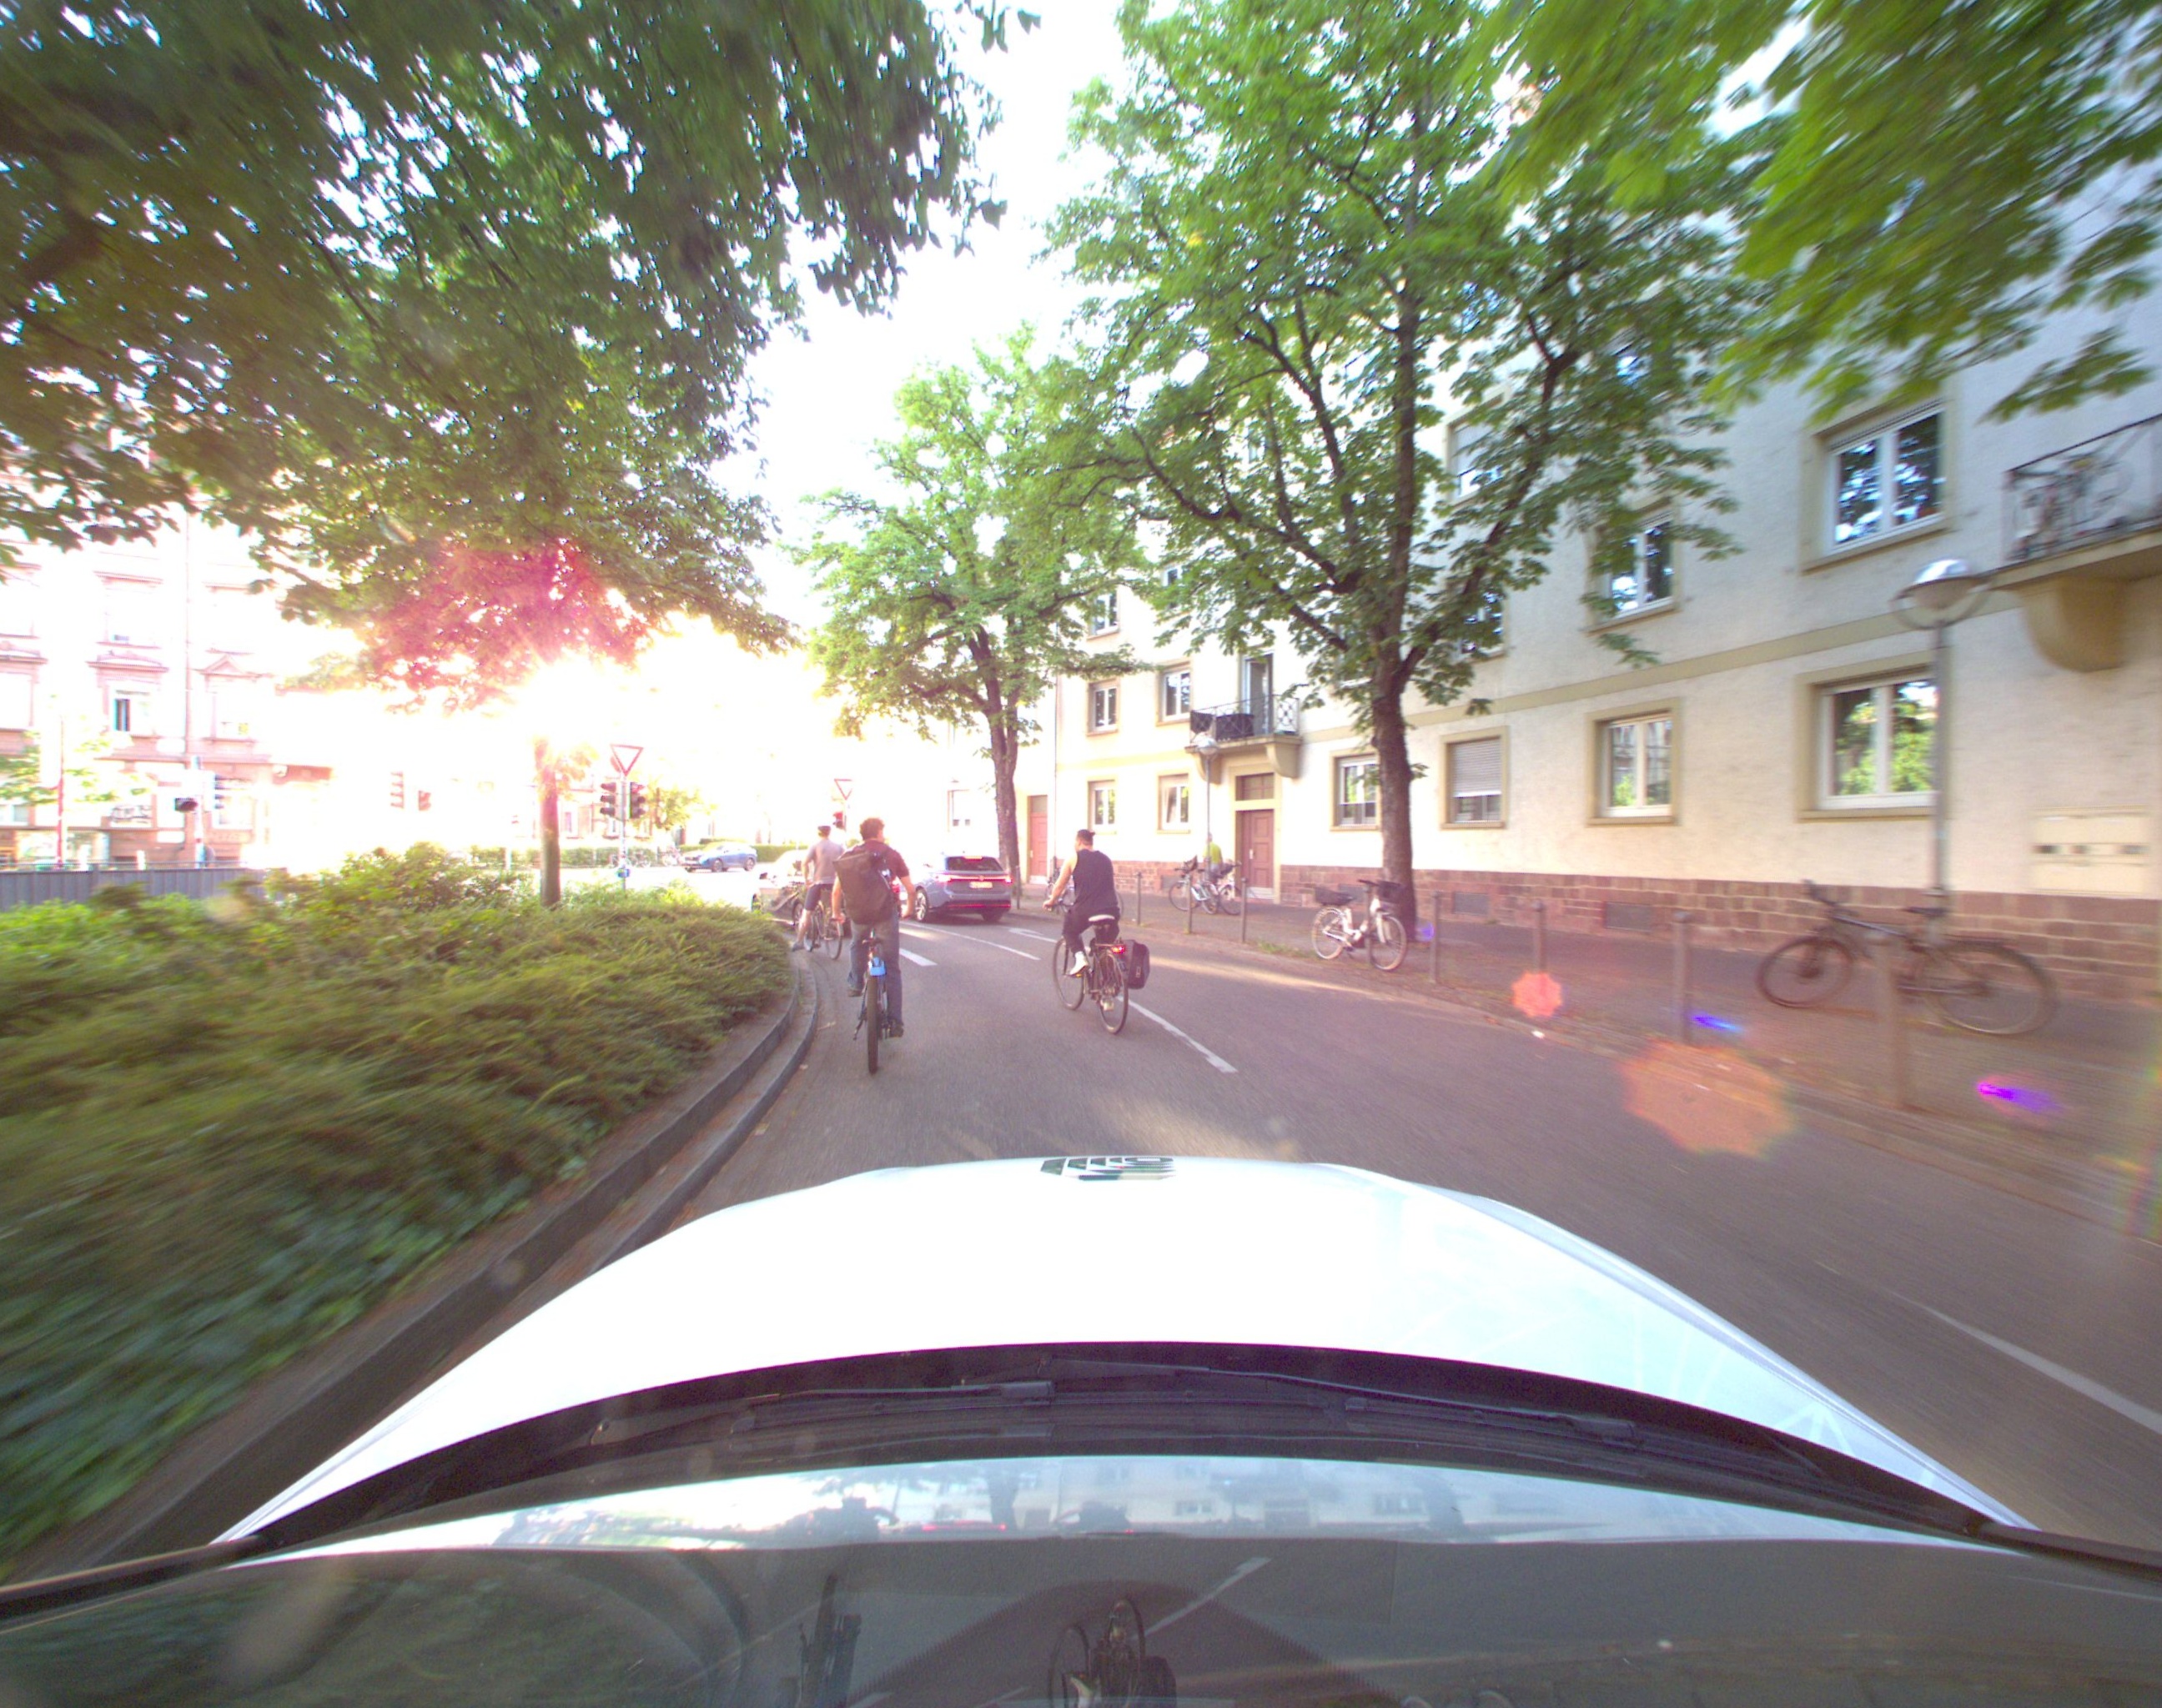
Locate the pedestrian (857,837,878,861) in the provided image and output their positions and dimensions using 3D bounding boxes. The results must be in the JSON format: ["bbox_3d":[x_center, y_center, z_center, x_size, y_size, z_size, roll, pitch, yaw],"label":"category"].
[{"bbox_3d":[-17.630,-0.401,67.196,1.150,1.962,1.392,1,0,11],"label":"pedestrian"}]

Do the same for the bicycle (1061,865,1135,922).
[{"bbox_3d":[0.331,0.797,17.163,0.620,1.058,1.910,-2,2,-31],"label":"bicycle"}]

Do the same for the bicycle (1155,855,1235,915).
[{"bbox_3d":[2.436,0.640,17.662,0.497,1.172,2.097,-4,2,-29],"label":"bicycle"}]

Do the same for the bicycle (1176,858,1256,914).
[{"bbox_3d":[2.949,0.663,17.980,0.585,1.114,2.098,-1,1,-29],"label":"bicycle"}]

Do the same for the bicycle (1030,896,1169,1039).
[{"bbox_3d":[0.095,0.953,7.499,0.739,1.012,2.051,1,0,-15],"label":"bicycle"}]

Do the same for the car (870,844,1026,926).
[{"bbox_3d":[-3.042,0.575,18.003,1.906,1.577,3.957,0,1,-35],"label":"car"}]

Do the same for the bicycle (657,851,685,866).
[{"bbox_3d":[-24.426,0.275,48.507,0.445,0.861,1.456,1,0,31],"label":"bicycle"}]

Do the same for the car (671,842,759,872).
[{"bbox_3d":[-19.973,0.138,44.618,1.978,1.496,4.393,1,1,16],"label":"car"}]

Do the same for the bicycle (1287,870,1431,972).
[{"bbox_3d":[3.555,0.810,10.625,0.618,1.112,1.978,-3,2,-22],"label":"bicycle"}]

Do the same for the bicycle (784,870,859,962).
[{"bbox_3d":[-3.826,0.850,11.896,0.601,1.161,2.022,0,0,-31],"label":"bicycle"}]

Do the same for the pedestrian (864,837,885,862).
[{"bbox_3d":[-16.793,-0.362,66.369,1.150,1.962,1.392,1,0,11],"label":"pedestrian"}]

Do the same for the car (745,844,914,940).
[{"bbox_3d":[-4.911,0.621,15.559,1.827,1.543,3.914,-2,1,-37],"label":"car"}]

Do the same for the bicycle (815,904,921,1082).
[{"bbox_3d":[-1.628,0.977,6.428,0.674,1.054,2.052,0,-1,-12],"label":"bicycle"}]

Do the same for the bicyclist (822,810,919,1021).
[{"bbox_3d":[-1.631,0.437,6.426,0.672,1.514,1.064,0,0,-12],"label":"bicyclist"}]

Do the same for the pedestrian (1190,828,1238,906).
[{"bbox_3d":[3.177,0.281,19.448,0.651,1.795,1.003,0,1,45],"label":"pedestrian"}]

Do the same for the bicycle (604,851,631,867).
[{"bbox_3d":[-25.654,0.281,45.051,0.445,0.861,1.231,1,0,31],"label":"bicycle"}]

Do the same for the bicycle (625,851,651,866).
[{"bbox_3d":[-25.103,0.242,46.134,0.445,0.861,1.231,1,0,31],"label":"bicycle"}]

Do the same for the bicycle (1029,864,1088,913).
[{"bbox_3d":[-0.540,0.756,18.487,0.522,0.999,2.173,0,1,-25],"label":"bicycle"}]

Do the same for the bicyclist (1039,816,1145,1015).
[{"bbox_3d":[0.076,0.513,7.418,0.753,1.682,0.909,0,0,-15],"label":"bicyclist"}]

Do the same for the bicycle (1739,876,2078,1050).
[{"bbox_3d":[6.627,0.788,6.645,0.676,1.182,1.804,-2,0,-31],"label":"bicycle"}]

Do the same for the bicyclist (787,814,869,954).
[{"bbox_3d":[-3.663,0.396,11.748,0.856,1.898,1.128,0,1,-33],"label":"bicyclist"}]
